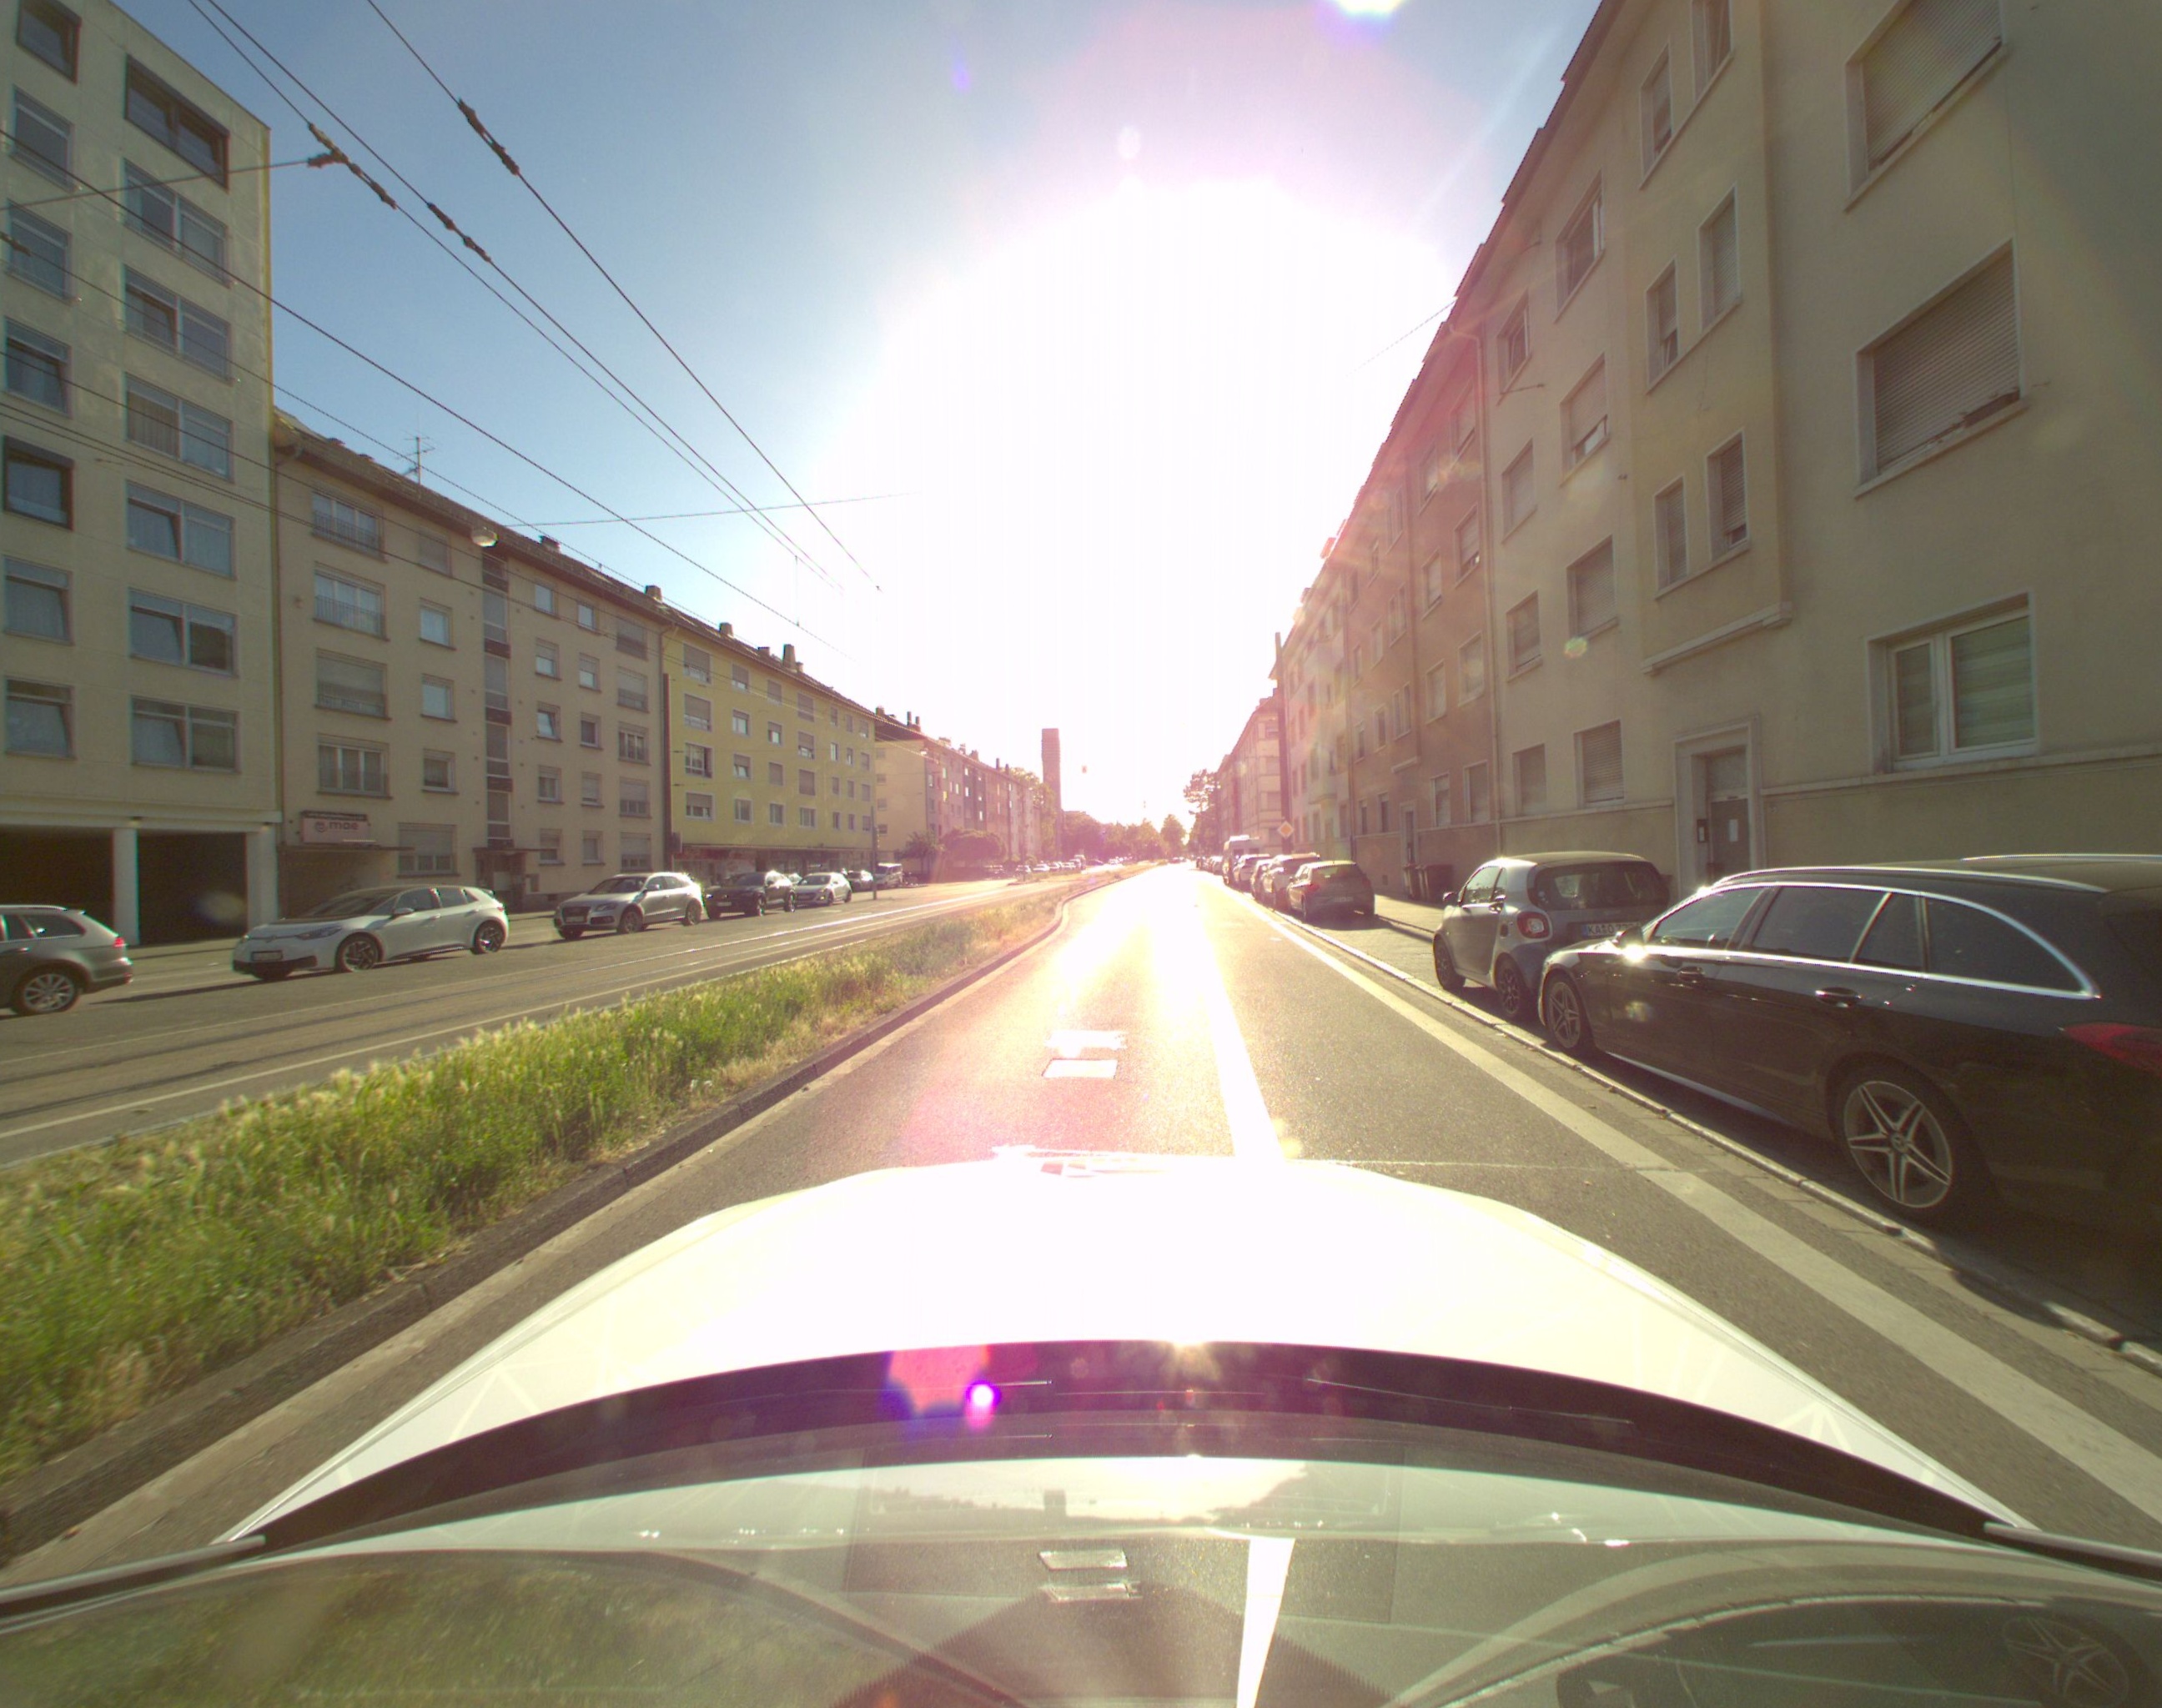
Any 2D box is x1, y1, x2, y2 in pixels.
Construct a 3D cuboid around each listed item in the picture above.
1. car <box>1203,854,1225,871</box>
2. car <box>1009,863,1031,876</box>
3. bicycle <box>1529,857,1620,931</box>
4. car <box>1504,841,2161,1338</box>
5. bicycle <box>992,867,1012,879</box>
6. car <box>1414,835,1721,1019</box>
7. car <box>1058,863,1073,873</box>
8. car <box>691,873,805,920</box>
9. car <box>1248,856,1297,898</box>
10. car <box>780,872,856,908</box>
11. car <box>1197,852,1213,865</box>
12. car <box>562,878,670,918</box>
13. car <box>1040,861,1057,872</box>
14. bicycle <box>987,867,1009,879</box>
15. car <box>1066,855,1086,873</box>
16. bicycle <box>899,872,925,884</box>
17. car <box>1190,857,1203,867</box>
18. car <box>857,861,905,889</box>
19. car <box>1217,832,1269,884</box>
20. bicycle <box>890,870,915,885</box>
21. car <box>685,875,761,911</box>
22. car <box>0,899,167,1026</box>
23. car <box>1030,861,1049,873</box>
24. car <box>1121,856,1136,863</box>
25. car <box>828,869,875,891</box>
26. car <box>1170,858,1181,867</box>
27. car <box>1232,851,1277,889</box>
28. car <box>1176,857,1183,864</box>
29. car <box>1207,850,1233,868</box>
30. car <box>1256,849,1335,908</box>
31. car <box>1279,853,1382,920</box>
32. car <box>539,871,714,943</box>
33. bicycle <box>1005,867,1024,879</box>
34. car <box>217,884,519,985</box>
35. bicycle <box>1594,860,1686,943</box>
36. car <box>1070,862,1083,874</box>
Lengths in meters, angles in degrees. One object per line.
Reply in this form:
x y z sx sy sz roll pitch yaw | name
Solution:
13.661 0.891 83.754 1.888 1.488 3.743 -2 -2 4 | car
-7.483 1.938 100.202 1.984 1.453 4.004 -2 -2 4 | car
8.900 0.678 14.771 0.626 1.192 1.886 -4 0 7 | bicycle
4.396 0.708 4.614 1.874 1.398 4.749 -4 -1 6 | car
-8.920 2.158 91.637 2.120 1.324 0.896 -2 -3 0 | bicycle
4.841 0.660 8.599 1.545 1.526 2.992 -3 -1 4 | car
-2.634 2.443 137.875 1.984 1.554 4.004 -2 -2 5 | car
-12.047 1.494 29.835 1.954 1.480 4.575 -3 -1 5 | car
7.337 0.853 31.436 1.493 1.426 3.461 -5 -1 9 | car
-11.722 1.552 36.568 1.816 1.446 4.286 -2 -1 2 | car
16.351 0.619 107.693 1.888 1.488 3.744 -2 -2 5 | car
-19.395 1.798 34.178 1.766 1.435 4.064 -3 -1 8 | car
-4.855 1.942 123.253 1.984 1.554 4.004 -2 -2 5 | car
-9.141 2.088 89.755 2.299 1.305 0.914 -2 -3 3 | bicycle
-0.931 1.969 158.317 2.972 3.238 6.801 -2 -2 5 | car
-14.817 2.103 71.399 2.072 1.022 0.802 -2 -3 -7 | bicycle
18.956 1.370 133.536 1.888 1.488 3.744 -2 -2 5 | car
-15.953 1.659 65.250 1.994 2.106 5.313 -2 -1 5 | car
9.204 0.214 46.745 2.148 2.651 5.651 -4 -1 5 | car
-15.181 2.016 69.414 1.971 1.206 0.692 -1 -3 -21 | bicycle
-18.373 1.960 42.006 1.821 1.581 3.810 -3 0 8 | car
-14.304 1.400 9.506 1.808 1.491 4.551 -3 -1 8 | car
-5.770 1.839 112.965 1.984 1.581 4.004 -2 -2 5 | car
12.591 1.536 216.836 3.973 1.684 2.000 -2 -3 0 | car
-16.569 1.866 59.009 1.754 1.488 3.926 -3 -2 9 | car
22.132 1.973 190.659 1.987 1.783 3.998 -2 -2 0 | car
8.358 0.753 39.512 1.582 1.634 3.924 -4 -1 5 | car
27.883 1.886 230.362 1.834 1.687 4.006 -2 -2 6 | car
12.495 0.461 73.238 1.888 1.488 3.743 -2 -2 4 | car
6.918 0.735 26.658 1.654 1.644 4.189 -4 0 4 | car
6.489 0.789 21.616 1.764 1.471 4.100 -4 -1 6 | car
-12.462 1.381 22.758 1.856 1.577 4.637 -4 0 5 | car
-7.675 2.186 94.019 2.128 1.324 0.893 -2 -3 -11 | bicycle
-13.313 1.418 15.641 1.830 1.515 4.248 -3 -1 5 | car
8.770 0.715 12.845 0.511 1.192 1.560 -3 0 7 | bicycle
-0.807 2.534 149.433 1.984 1.965 4.757 -2 -2 5 | car
